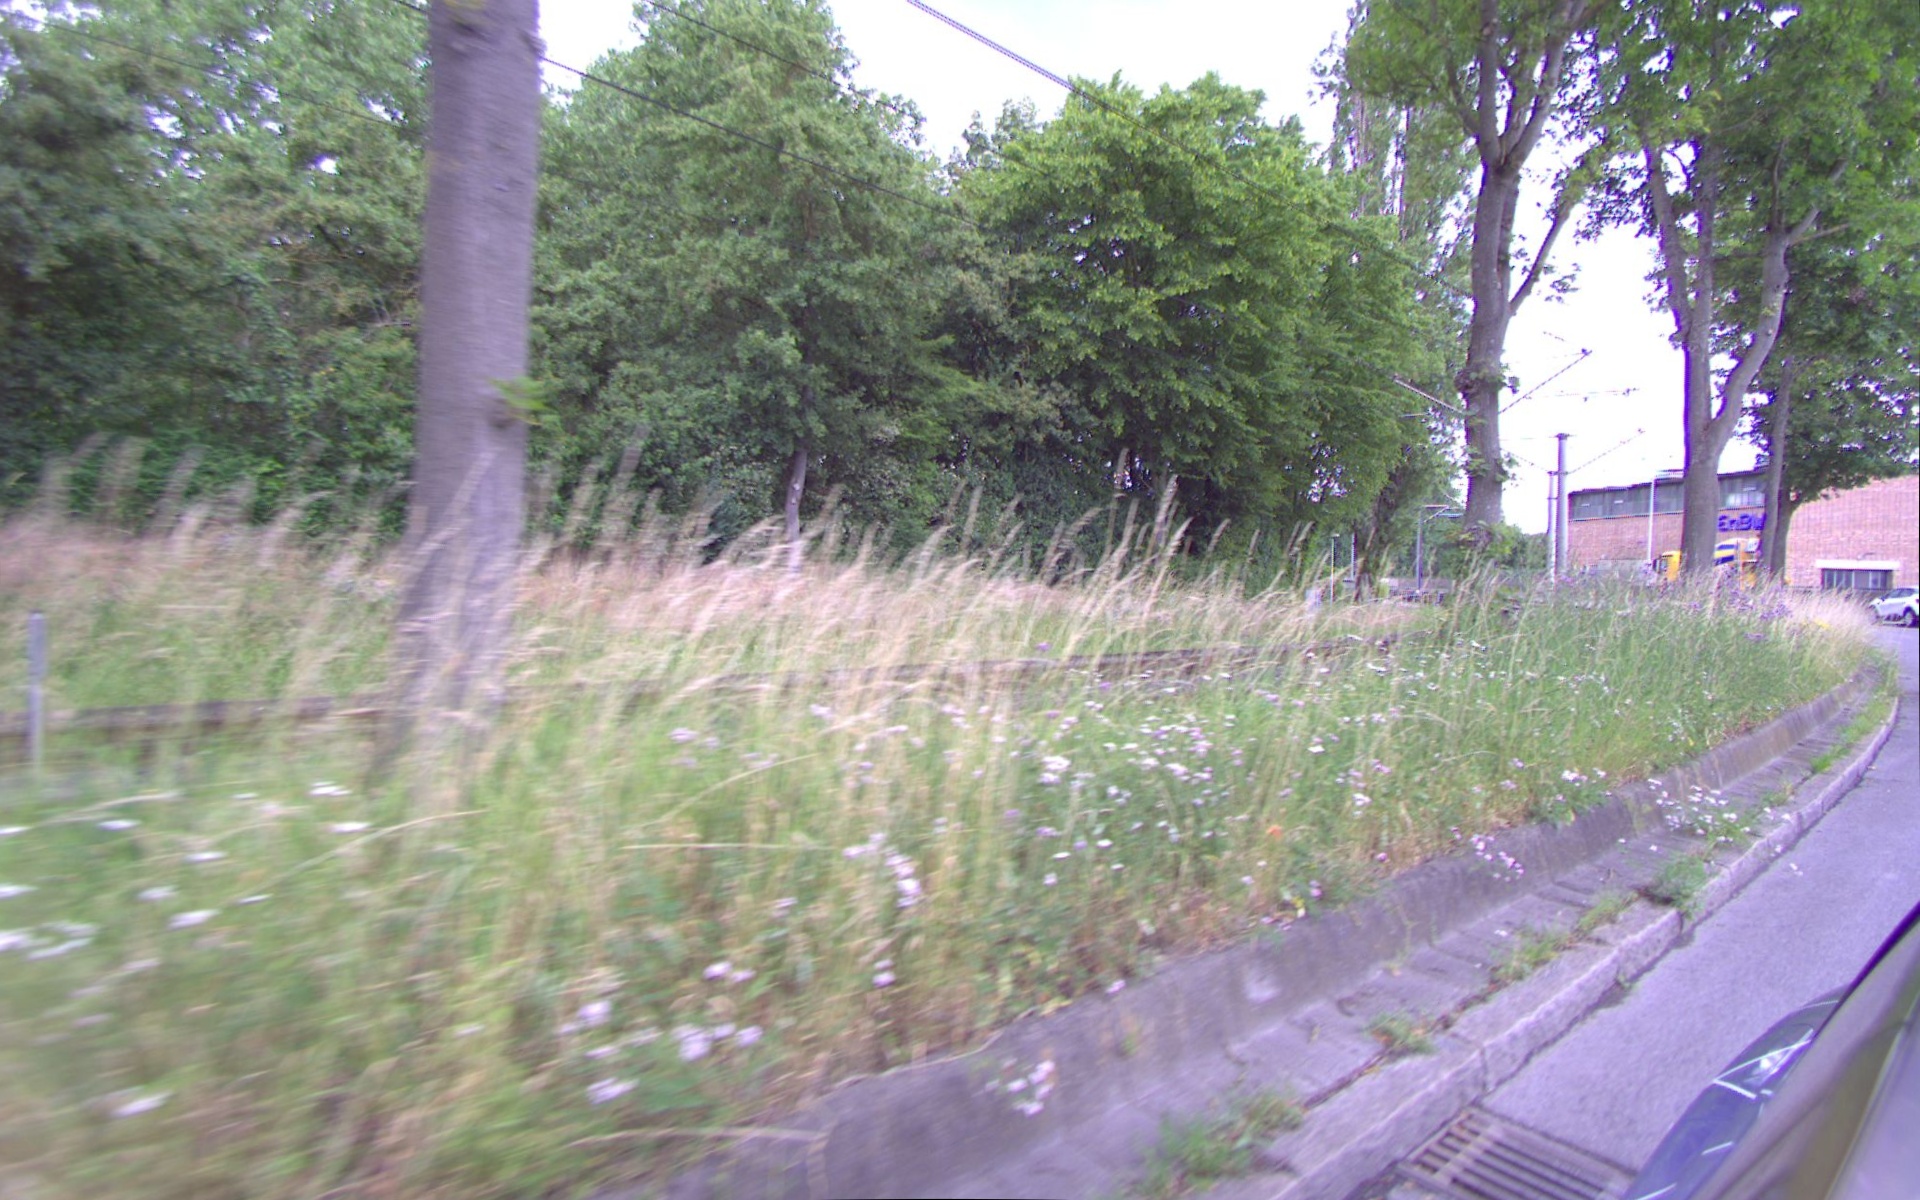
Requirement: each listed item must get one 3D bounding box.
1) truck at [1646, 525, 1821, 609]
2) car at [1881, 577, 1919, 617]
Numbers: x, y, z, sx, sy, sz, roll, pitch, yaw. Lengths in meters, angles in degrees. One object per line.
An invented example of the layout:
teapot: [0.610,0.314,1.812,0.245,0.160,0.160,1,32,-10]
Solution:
truck: [40.846,-1.635,54.028,2.632,3.988,10.116,-2,0,8]
car: [36.716,-0.126,38.093,1.731,1.506,3.630,-1,0,20]
